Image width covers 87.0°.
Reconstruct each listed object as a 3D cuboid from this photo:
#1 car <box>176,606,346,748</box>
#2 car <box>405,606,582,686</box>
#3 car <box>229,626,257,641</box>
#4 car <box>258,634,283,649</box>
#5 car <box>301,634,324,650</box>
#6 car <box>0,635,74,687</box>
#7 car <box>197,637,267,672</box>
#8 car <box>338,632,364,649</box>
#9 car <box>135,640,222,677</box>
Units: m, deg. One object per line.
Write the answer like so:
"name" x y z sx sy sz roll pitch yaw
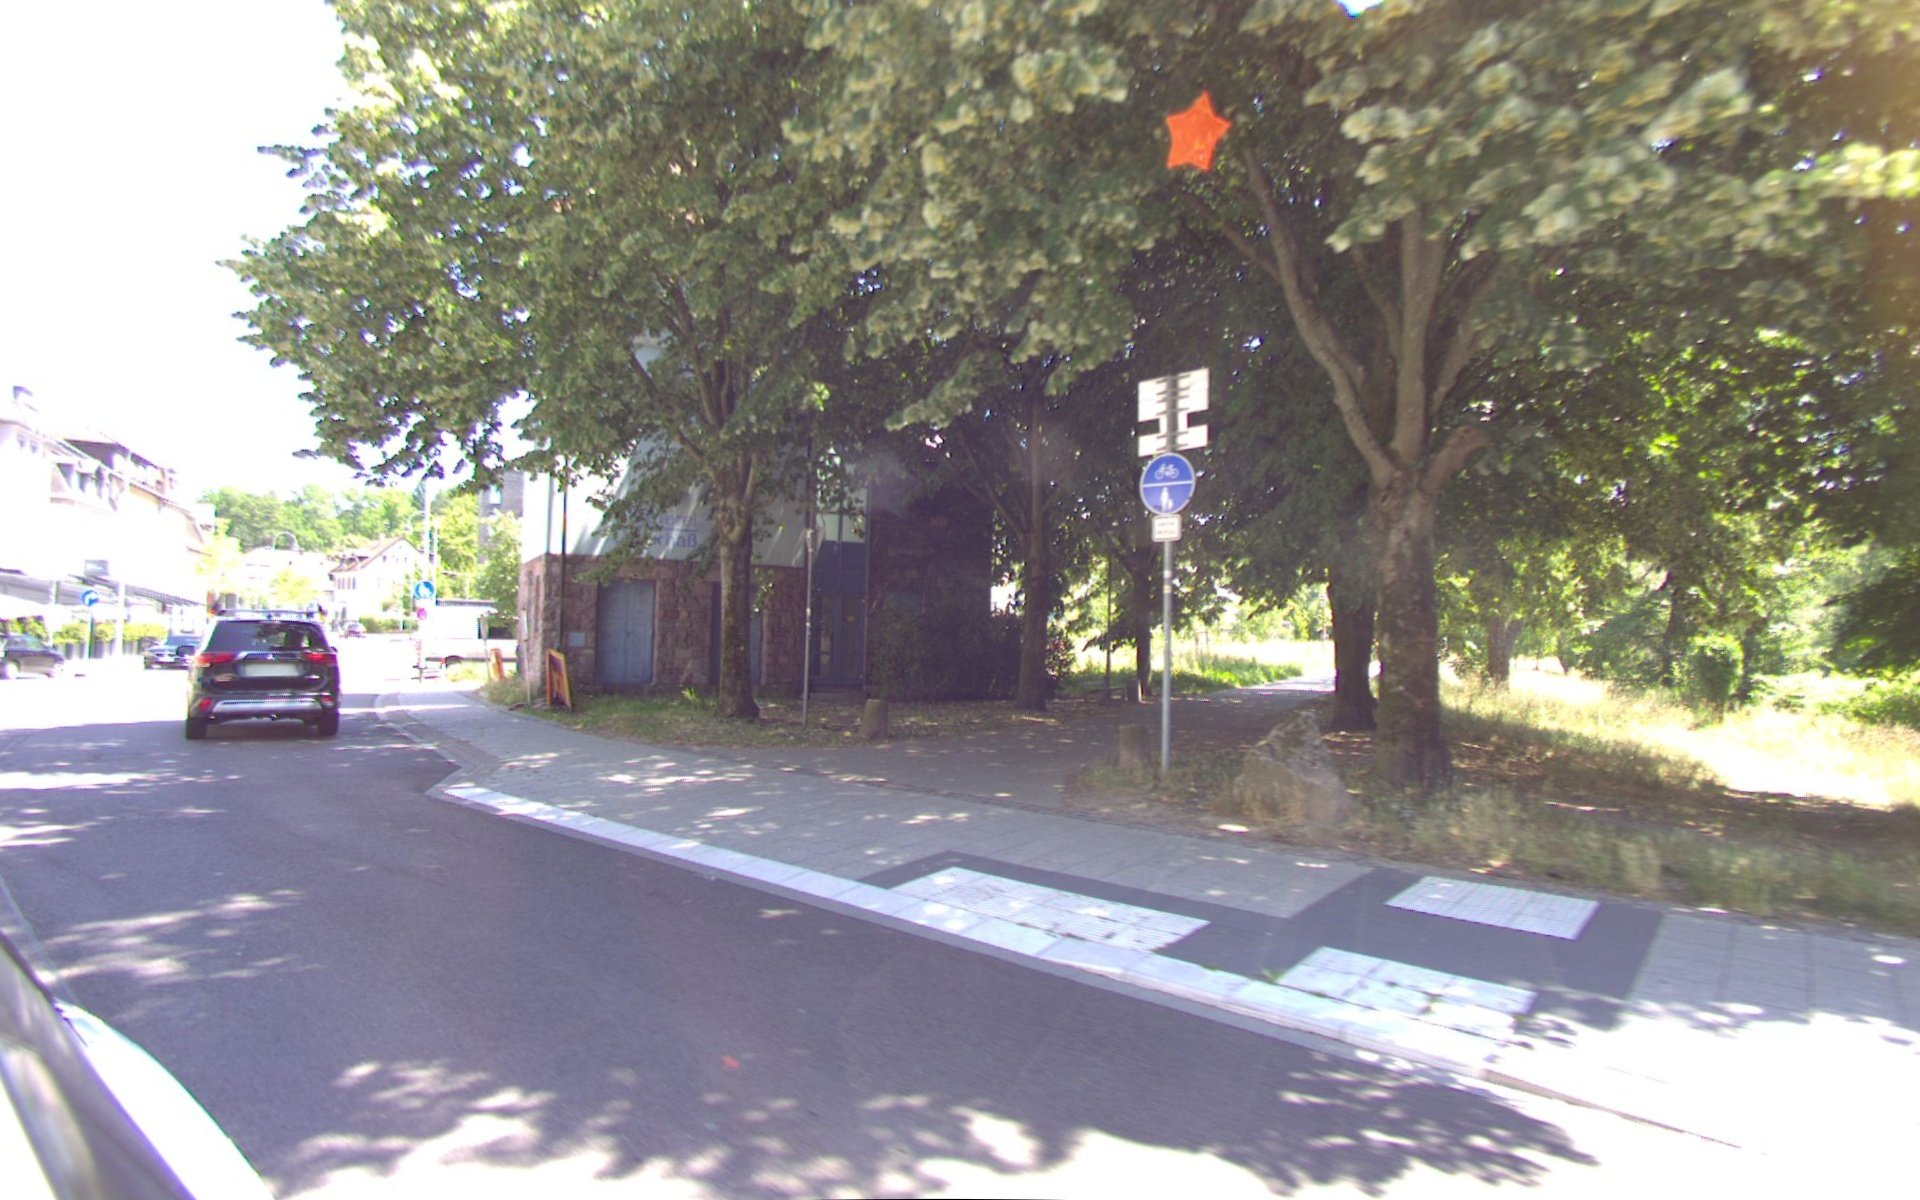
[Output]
"car" -10.397 1.085 14.943 1.718 1.786 4.346 5 -5 -37
"car" -16.968 1.618 36.995 5.686 2.753 2.299 1 -2 -26
"car" -80.526 3.730 113.584 4.325 1.484 1.710 0 -5 44
"car" -71.089 4.246 104.327 1.655 1.526 3.397 2 -2 -27
"car" -73.564 4.779 115.008 1.787 1.714 4.084 3 -3 -37
"car" -30.002 1.873 31.684 1.846 1.503 3.872 3 -3 -16
"car" -35.468 2.647 49.405 1.713 1.497 4.067 4 -3 -21
"car" -59.558 3.940 98.887 1.868 1.565 4.811 1 -3 -34
"car" -32.755 2.437 42.563 1.700 1.416 4.624 3 -3 -23
